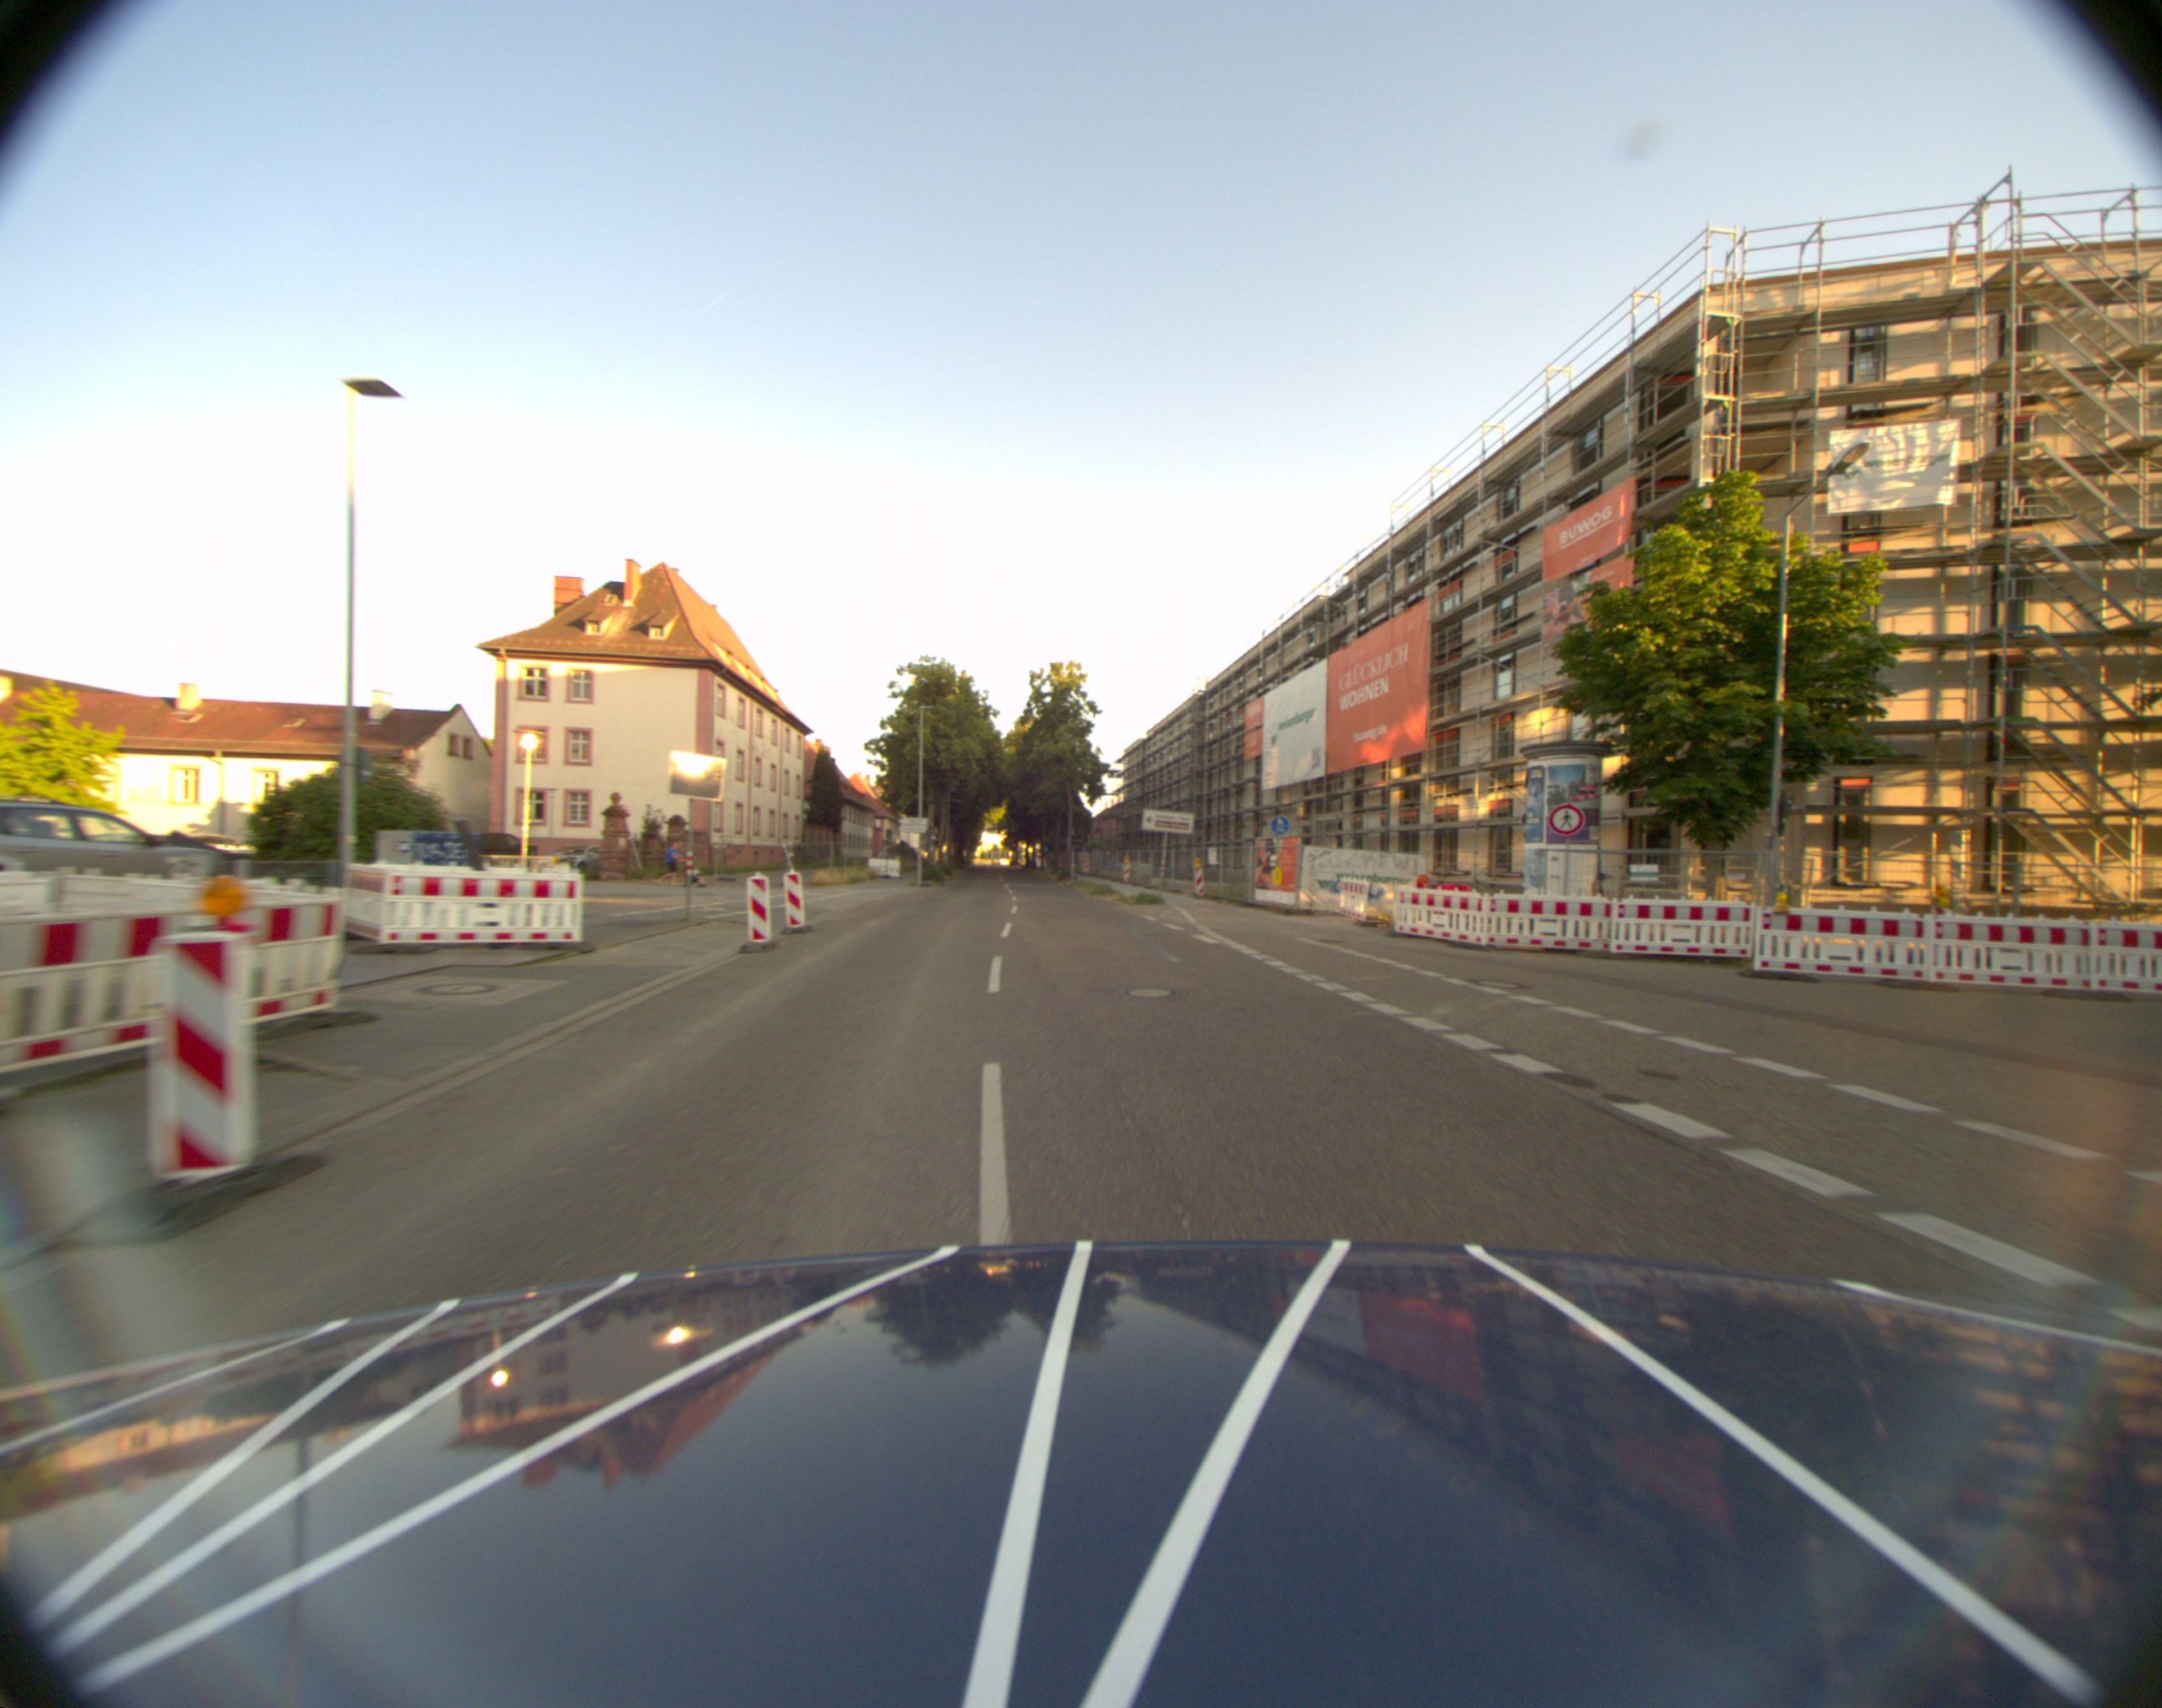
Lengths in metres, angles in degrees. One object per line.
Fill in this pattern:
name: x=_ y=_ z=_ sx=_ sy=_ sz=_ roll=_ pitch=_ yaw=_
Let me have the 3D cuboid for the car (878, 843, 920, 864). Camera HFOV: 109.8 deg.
car: x=-18.740 y=-0.079 z=78.379 sx=4.001 sy=2.002 sz=1.998 roll=2 pitch=0 yaw=-11

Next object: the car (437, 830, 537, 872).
car: x=-27.857 y=-0.138 z=35.824 sx=2.000 sy=1.848 sz=3.996 roll=1 pitch=0 yaw=-9

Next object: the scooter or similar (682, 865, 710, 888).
scooter or similar: x=-14.941 y=0.866 z=29.494 sx=0.806 sy=0.885 sz=0.515 roll=1 pitch=0 yaw=-6

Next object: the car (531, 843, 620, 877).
car: x=-23.564 y=0.266 z=35.605 sx=2.000 sy=1.450 sz=3.996 roll=1 pitch=0 yaw=-9

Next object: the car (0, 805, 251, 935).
car: x=-15.052 y=0.175 z=11.004 sx=1.702 sy=1.698 sz=4.280 roll=2 pitch=0 yaw=-7

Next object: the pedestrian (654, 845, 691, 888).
pedestrian: x=-15.871 y=0.497 z=29.547 sx=1.014 sy=1.632 sz=0.752 roll=1 pitch=0 yaw=-5
